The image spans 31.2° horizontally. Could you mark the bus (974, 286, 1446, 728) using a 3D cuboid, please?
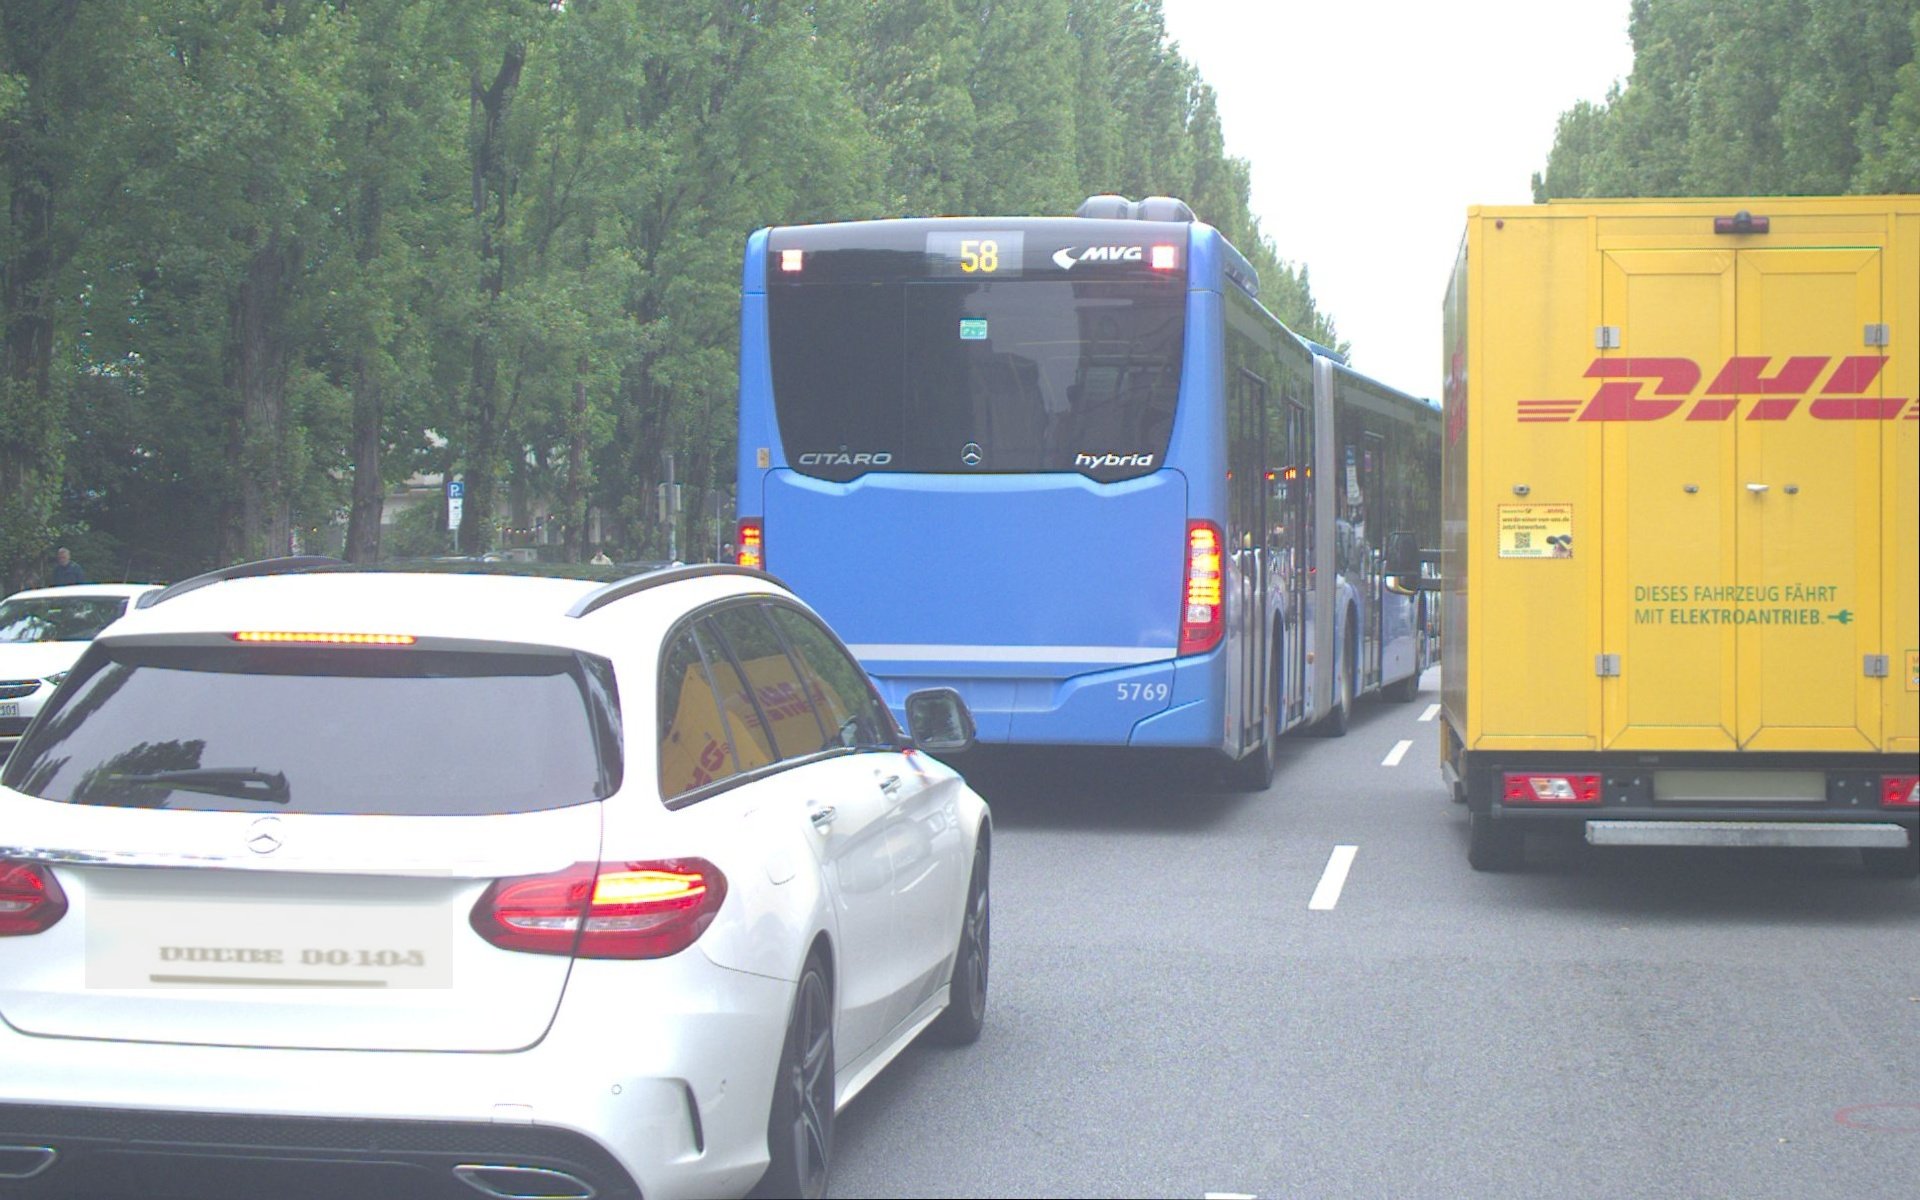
[{"bbox_3d":[2.542,-0.775,30.721,2.873,3.292,9.784,0,1,12],"label":"bus"}]

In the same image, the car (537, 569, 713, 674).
[{"bbox_3d":[-4.808,0.279,49.838,1.675,1.408,3.999,-1,1,7],"label":"car"}]

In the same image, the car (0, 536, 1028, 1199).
[{"bbox_3d":[-1.028,0.576,8.537,1.826,1.449,4.581,1,1,8],"label":"car"}]

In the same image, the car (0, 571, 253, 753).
[{"bbox_3d":[-7.570,0.499,29.540,1.685,1.408,4.003,-2,1,7],"label":"car"}]

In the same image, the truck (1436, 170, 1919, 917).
[{"bbox_3d":[3.563,-0.278,16.995,2.328,2.888,7.331,0,1,8],"label":"truck"}]

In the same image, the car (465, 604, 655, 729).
[{"bbox_3d":[-5.241,0.845,45.516,1.540,1.428,3.868,-4,0,7],"label":"car"}]

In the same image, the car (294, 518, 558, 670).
[{"bbox_3d":[-6.040,-0.096,39.409,1.791,1.542,4.337,-3,0,7],"label":"car"}]

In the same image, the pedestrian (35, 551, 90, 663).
[{"bbox_3d":[-14.033,0.103,53.780,0.600,1.733,0.640,-1,1,8],"label":"pedestrian"}]

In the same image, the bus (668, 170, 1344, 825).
[{"bbox_3d":[0.703,-0.593,21.522,2.857,3.202,9.056,0,1,10],"label":"bus"}]

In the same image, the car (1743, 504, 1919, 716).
[{"bbox_3d":[8.843,0.052,34.062,1.807,1.969,4.235,0,1,9],"label":"car"}]

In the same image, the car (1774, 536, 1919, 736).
[{"bbox_3d":[7.896,0.244,28.632,1.863,1.546,3.999,0,1,9],"label":"car"}]

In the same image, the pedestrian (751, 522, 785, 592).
[{"bbox_3d":[-5.581,-1.254,99.839,0.830,2.007,0.777,-1,1,6],"label":"pedestrian"}]

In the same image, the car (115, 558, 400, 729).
[{"bbox_3d":[-6.854,0.377,33.965,1.743,1.513,4.118,-2,1,3],"label":"car"}]

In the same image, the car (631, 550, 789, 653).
[{"bbox_3d":[-3.899,-0.005,54.262,1.709,1.542,3.999,-1,1,7],"label":"car"}]

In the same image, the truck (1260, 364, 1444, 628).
[{"bbox_3d":[6.389,-1.651,56.449,2.716,3.952,9.216,-1,1,6],"label":"truck"}]
